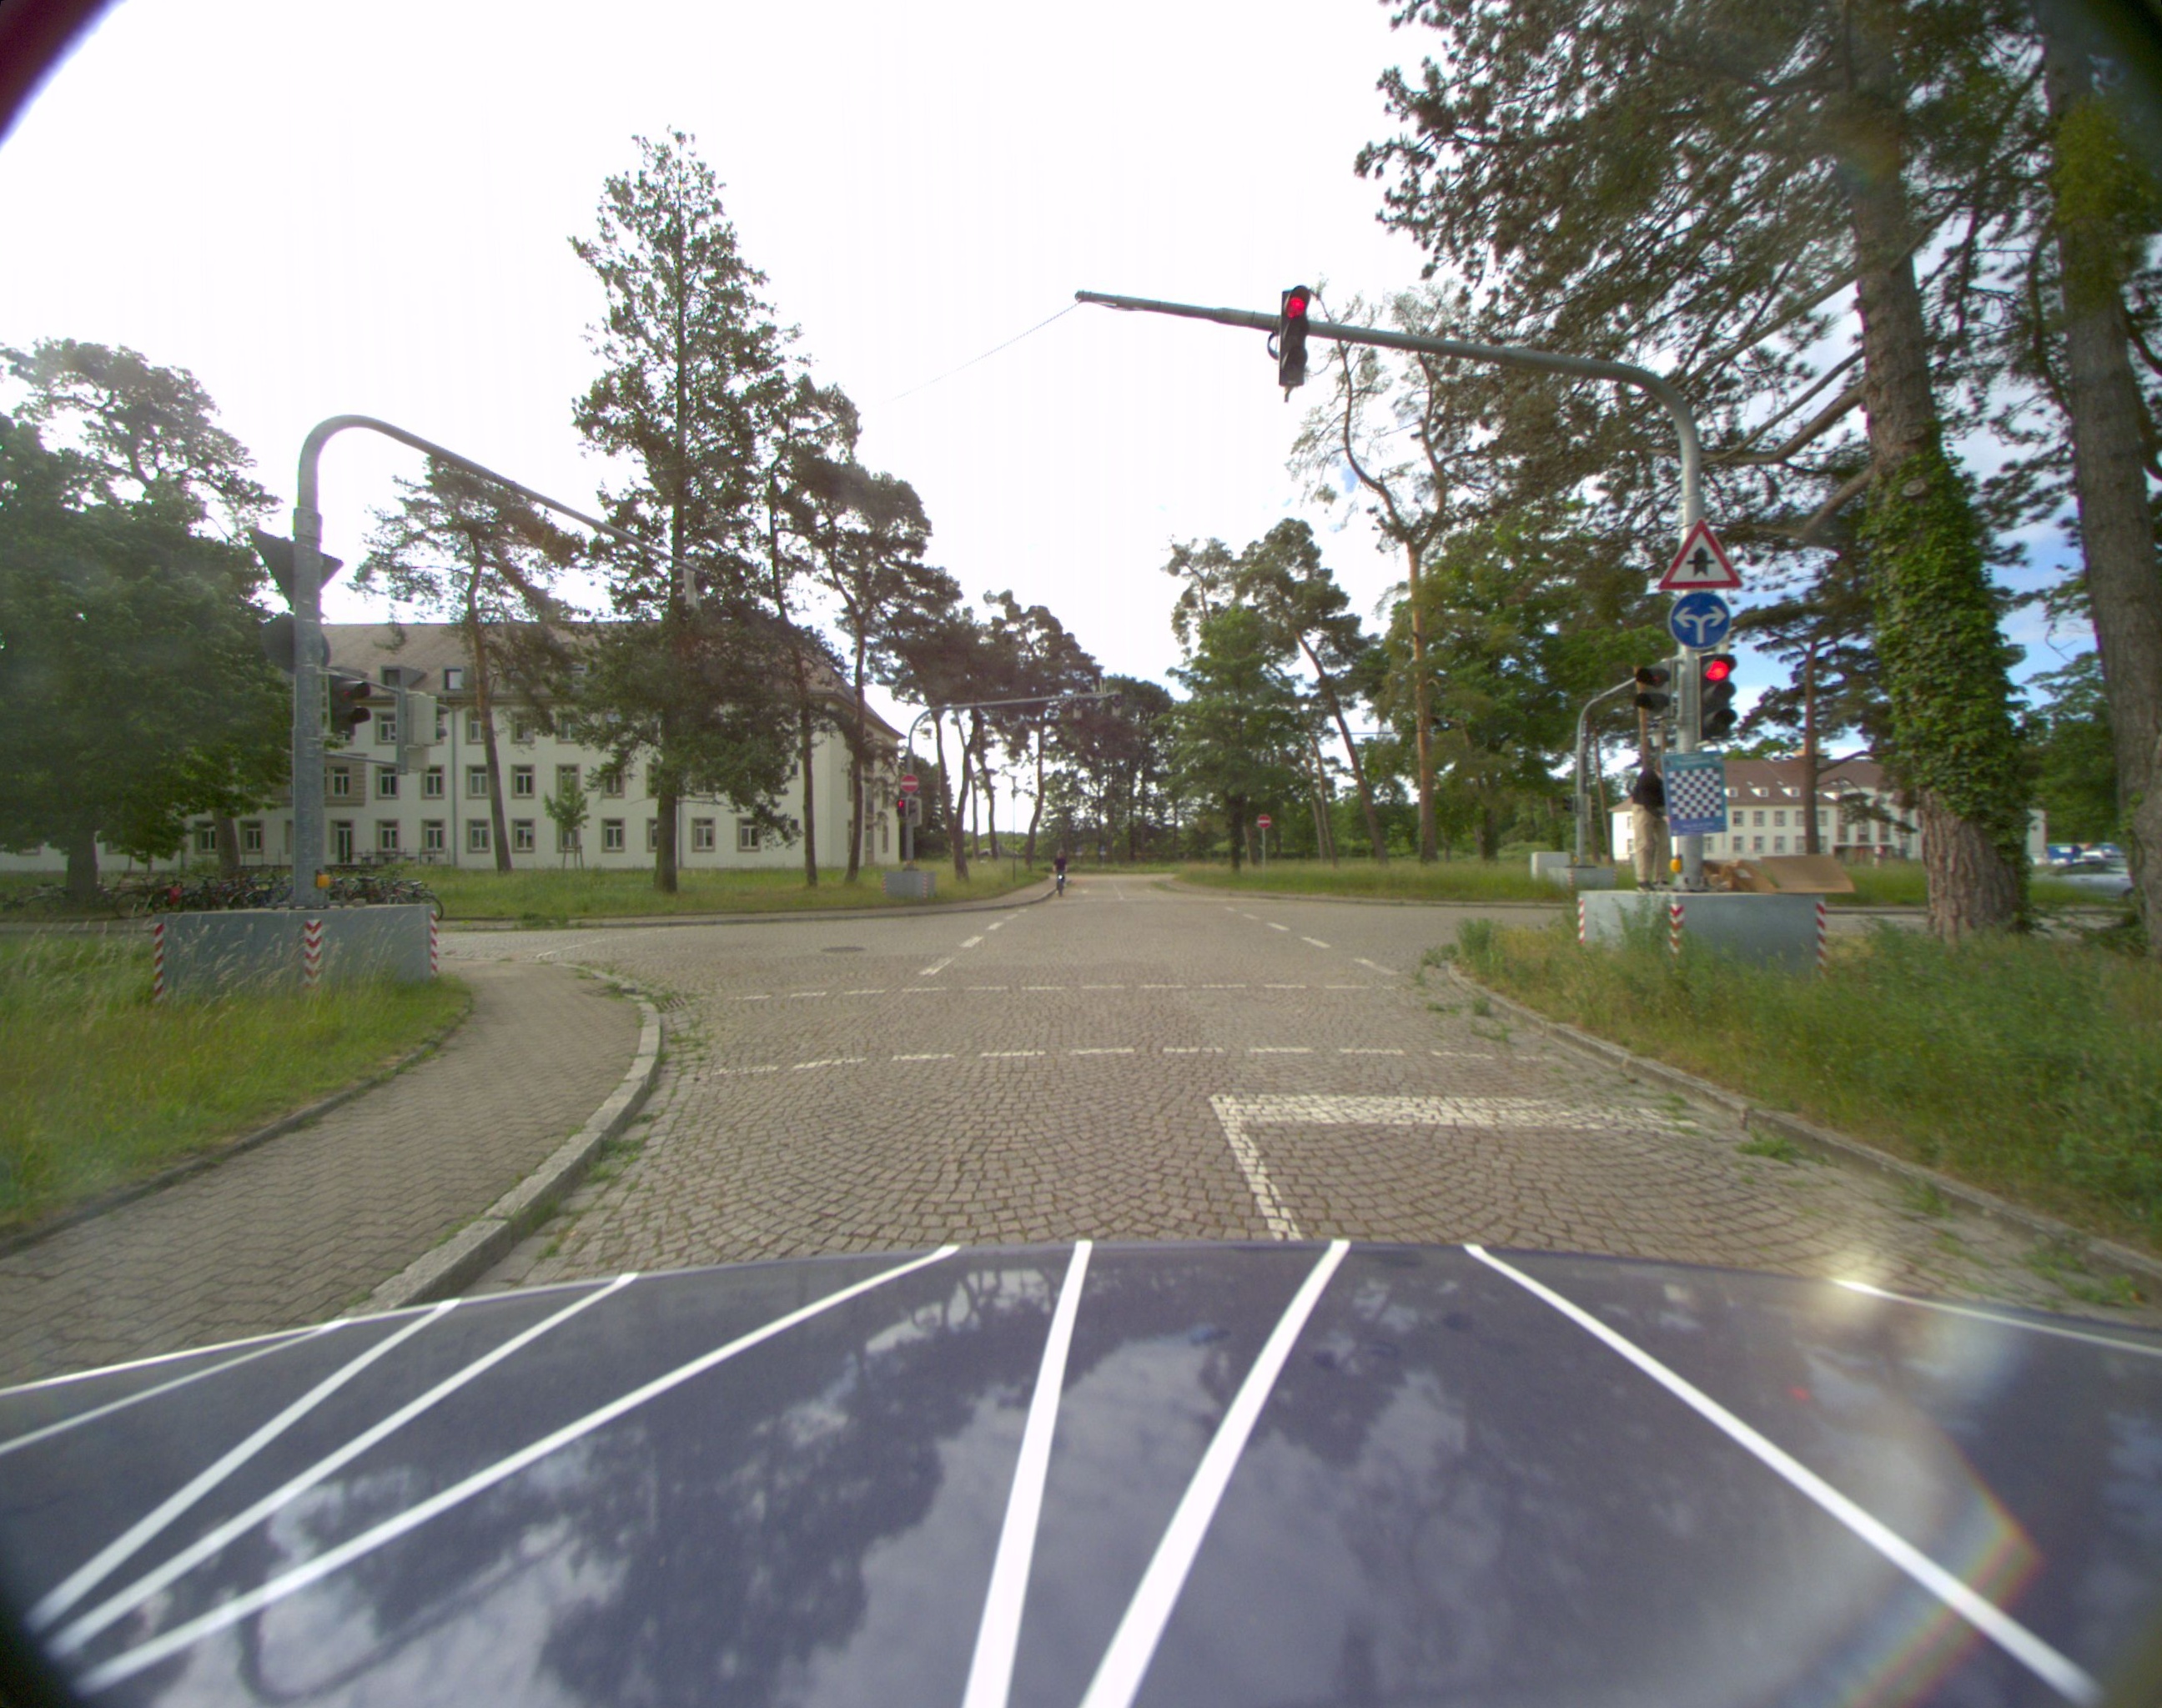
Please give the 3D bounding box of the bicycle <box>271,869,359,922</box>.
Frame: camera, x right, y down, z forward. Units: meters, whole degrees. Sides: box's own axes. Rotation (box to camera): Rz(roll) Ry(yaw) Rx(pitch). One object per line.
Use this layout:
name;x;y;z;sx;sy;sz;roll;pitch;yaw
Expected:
bicycle;-20.575;1.091;20.461;0.572;1.324;1.837;0;0;-4

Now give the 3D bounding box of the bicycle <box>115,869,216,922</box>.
bicycle;-24.633;1.094;20.489;0.572;1.324;1.837;0;0;-4

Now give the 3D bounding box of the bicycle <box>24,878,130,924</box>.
bicycle;-27.755;1.272;21.053;0.572;1.180;1.837;0;0;-5

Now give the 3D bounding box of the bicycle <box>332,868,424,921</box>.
bicycle;-18.879;1.060;20.470;0.572;1.324;1.839;0;0;9

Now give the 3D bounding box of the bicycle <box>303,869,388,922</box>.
bicycle;-19.809;1.087;20.511;0.572;1.324;1.837;0;0;-4

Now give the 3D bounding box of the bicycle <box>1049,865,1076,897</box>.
bicycle;-0.759;1.115;31.876;0.963;1.268;2.164;0;0;3

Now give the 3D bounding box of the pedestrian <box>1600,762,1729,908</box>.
pedestrian;6.359;-0.191;8.335;0.882;1.509;0.822;0;0;16

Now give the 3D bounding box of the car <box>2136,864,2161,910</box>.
car;35.985;1.006;22.936;1.840;1.512;4.585;0;-2;-1

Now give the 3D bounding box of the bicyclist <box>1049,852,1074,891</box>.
bicyclist;-0.813;0.732;31.853;0.963;1.625;0.918;0;0;3

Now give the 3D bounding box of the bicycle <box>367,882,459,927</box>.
bicycle;-16.585;1.246;18.874;1.836;1.079;0.573;0;2;5

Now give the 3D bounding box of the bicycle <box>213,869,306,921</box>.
bicycle;-21.996;1.069;20.406;0.572;1.324;1.837;0;0;-4

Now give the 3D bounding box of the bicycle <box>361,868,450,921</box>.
bicycle;-18.250;1.068;20.574;0.572;1.324;1.839;0;0;9

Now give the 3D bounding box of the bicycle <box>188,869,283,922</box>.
bicycle;-22.717;1.090;20.471;0.572;1.324;1.837;0;0;-4

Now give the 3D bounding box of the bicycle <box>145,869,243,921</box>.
bicycle;-23.921;1.082;20.546;0.572;1.324;1.837;0;0;-4

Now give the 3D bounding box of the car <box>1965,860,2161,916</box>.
car;30.608;1.003;23.127;1.841;1.537;4.583;0;-2;-6

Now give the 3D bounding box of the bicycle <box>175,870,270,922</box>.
bicycle;-23.322;1.108;20.684;0.572;1.324;1.837;0;0;-4

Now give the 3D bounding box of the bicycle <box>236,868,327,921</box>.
bicycle;-21.430;1.052;20.422;0.572;1.324;1.837;0;0;-4

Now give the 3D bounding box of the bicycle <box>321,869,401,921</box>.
bicycle;-19.376;1.075;20.491;0.482;1.324;1.837;0;0;-4

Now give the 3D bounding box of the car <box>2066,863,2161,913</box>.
car;33.323;1.006;22.673;1.840;1.512;4.585;0;-2;-1
